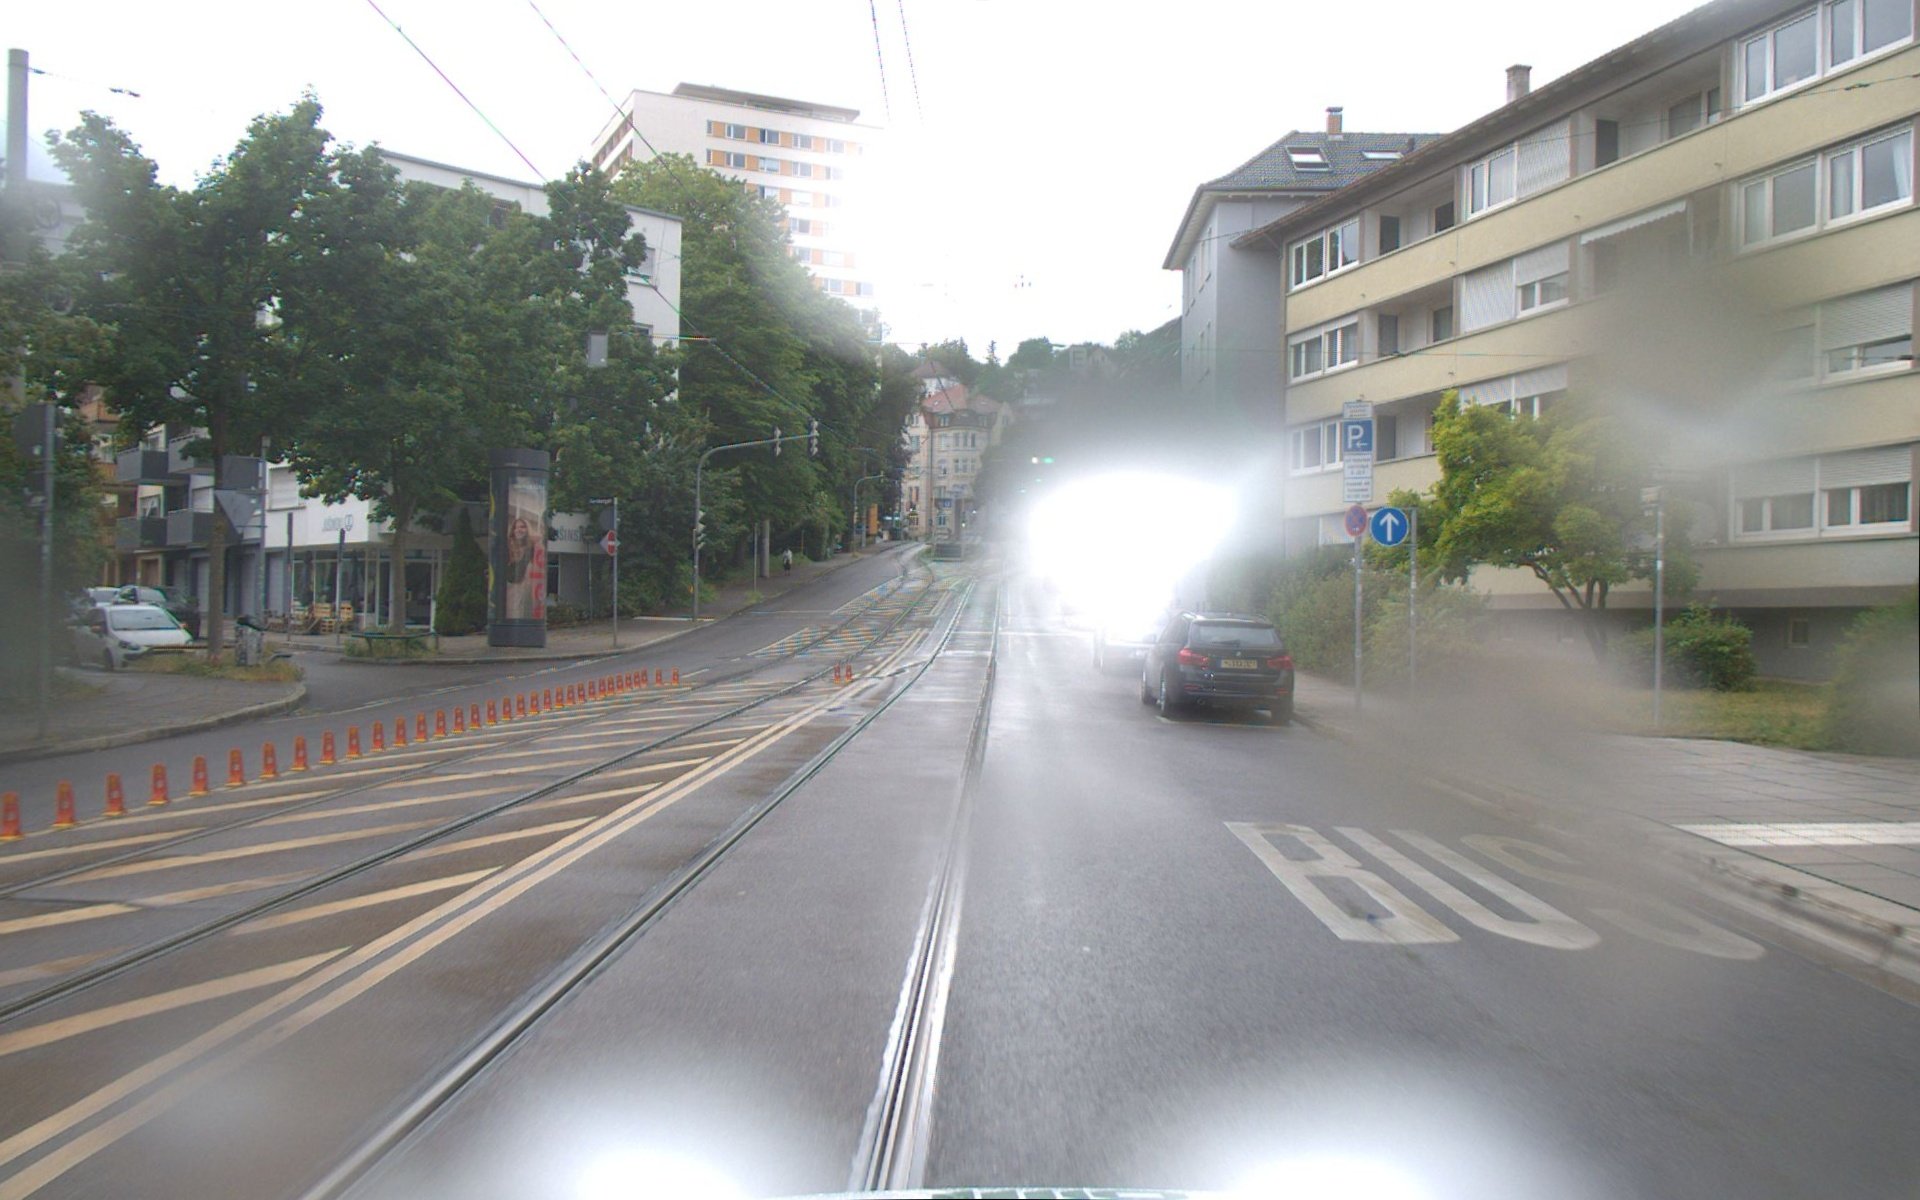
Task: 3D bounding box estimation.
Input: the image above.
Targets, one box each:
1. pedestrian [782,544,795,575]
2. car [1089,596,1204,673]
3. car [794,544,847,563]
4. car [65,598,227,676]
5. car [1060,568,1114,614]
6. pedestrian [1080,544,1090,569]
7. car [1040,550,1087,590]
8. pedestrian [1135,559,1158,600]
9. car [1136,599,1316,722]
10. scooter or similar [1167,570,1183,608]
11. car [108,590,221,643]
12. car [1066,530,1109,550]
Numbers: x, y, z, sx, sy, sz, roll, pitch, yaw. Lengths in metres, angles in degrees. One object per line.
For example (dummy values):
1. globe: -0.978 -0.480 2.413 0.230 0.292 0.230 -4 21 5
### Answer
1. pedestrian: -8.978 -2.127 86.599 0.571 1.627 0.869 3 1 -2
2. car: 3.905 0.686 35.227 1.900 1.489 4.206 2 0 -1
3. car: -11.173 -3.732 132.736 3.907 1.430 1.681 1 -1 24
4. car: -17.340 0.763 35.155 1.983 1.507 4.096 3 -1 -42
5. car: 4.590 -0.370 60.169 1.669 1.458 4.103 2 2 1
6. pedestrian: 8.321 -2.873 110.201 0.631 1.657 0.700 1 1 4
7. car: 4.765 -1.421 76.515 1.867 1.670 4.691 2 2 1
8. pedestrian: 7.464 -0.820 66.170 0.864 1.610 0.802 0 4 3
9. car: 3.701 0.787 23.799 1.820 1.513 4.645 2 0 0
10. scooter or similar: 7.897 -0.418 60.776 0.562 1.270 1.612 2 5 7
11. car: -25.185 0.511 52.304 3.933 1.545 1.986 1 -2 45
12. car: 11.783 -5.532 153.026 3.905 1.674 1.808 2 0 1
